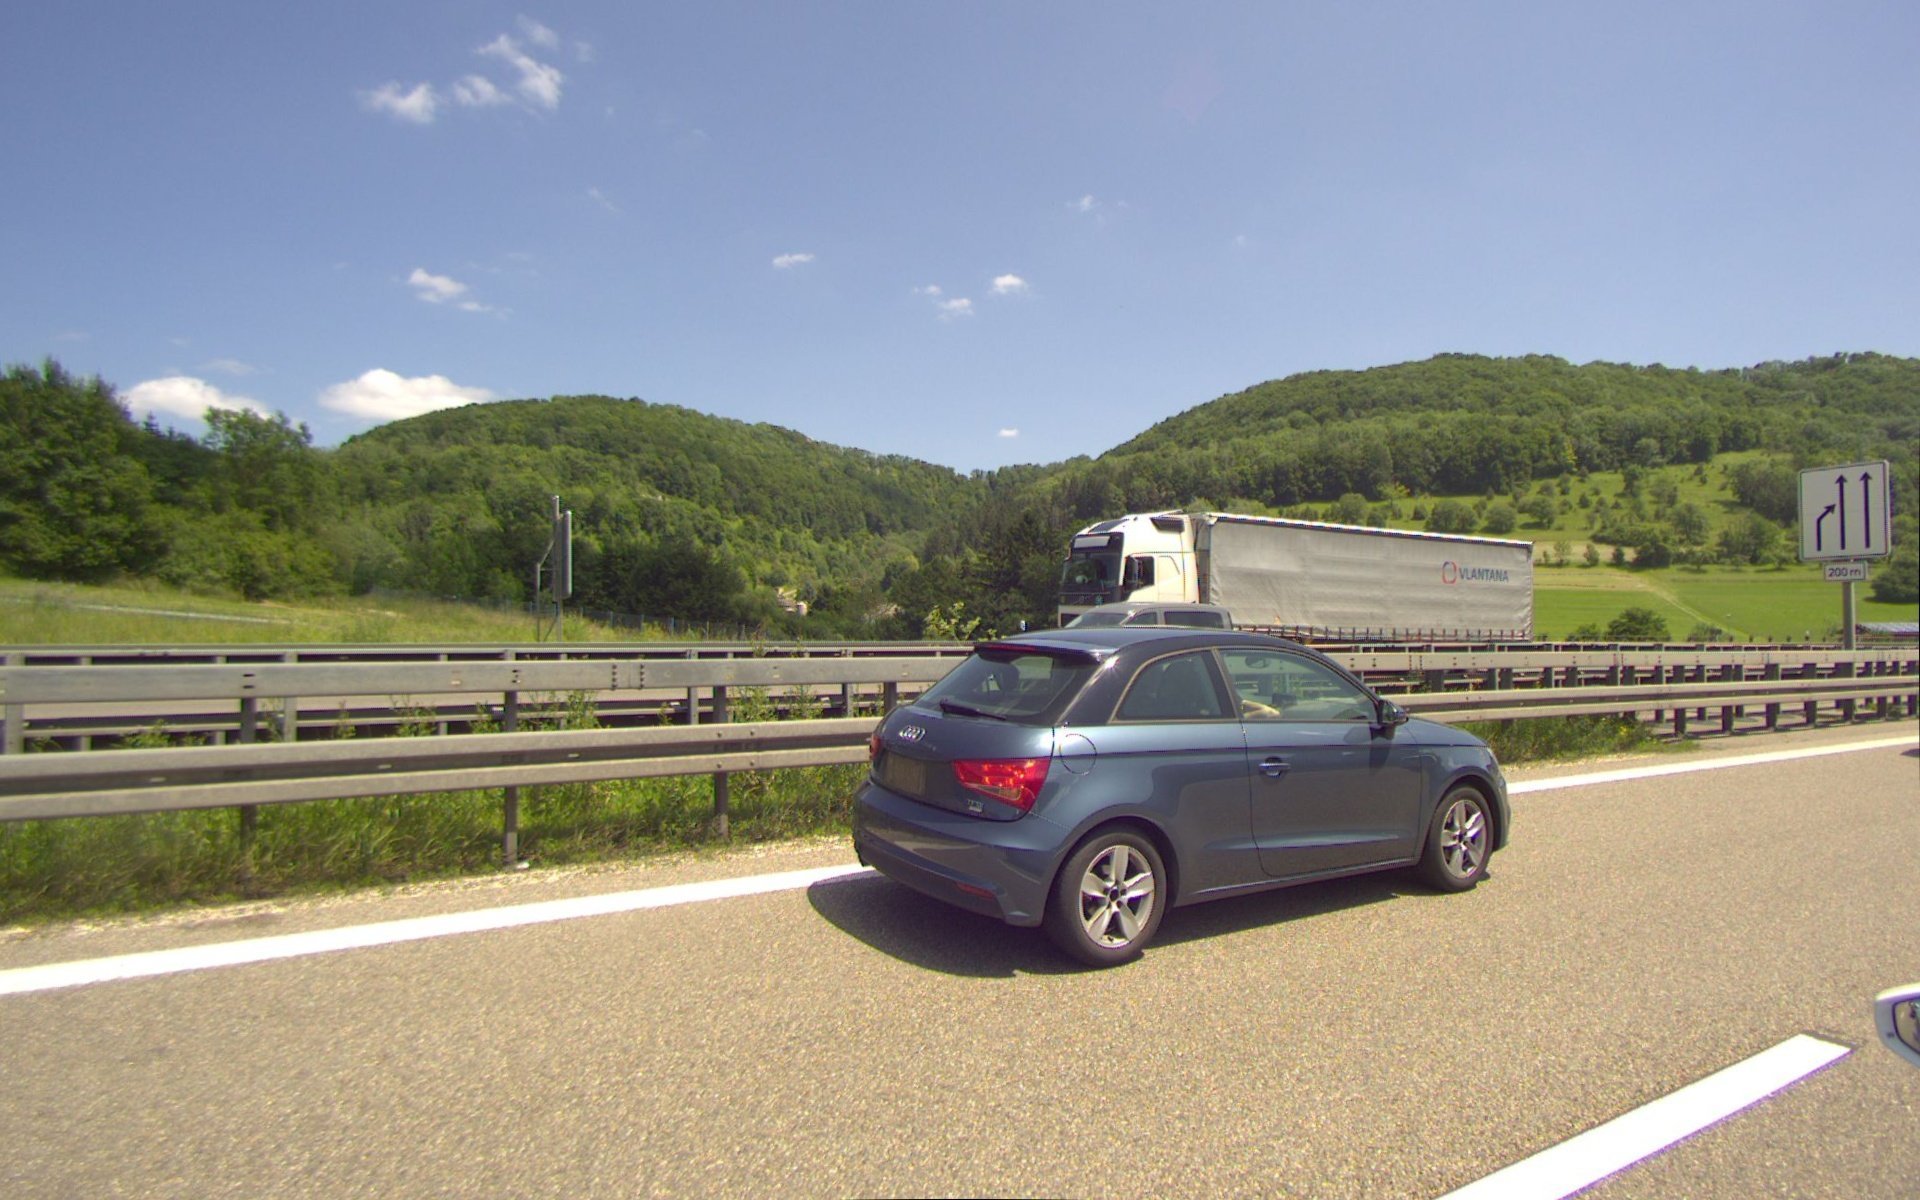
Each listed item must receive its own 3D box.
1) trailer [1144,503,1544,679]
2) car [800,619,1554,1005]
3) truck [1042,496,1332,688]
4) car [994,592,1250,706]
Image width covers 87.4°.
[{"bbox_3d":[11.434,-0.034,28.778,13.456,4.247,2.841,2,0,-30],"label":"trailer"},{"bbox_3d":[1.297,0.835,5.467,3.954,1.407,1.680,1,-1,-31],"label":"car"},{"bbox_3d":[5.846,-0.094,25.528,7.146,4.288,2.784,2,0,-30],"label":"truck"},{"bbox_3d":[3.005,0.845,18.446,4.354,1.878,1.984,1,0,-30],"label":"car"}]
